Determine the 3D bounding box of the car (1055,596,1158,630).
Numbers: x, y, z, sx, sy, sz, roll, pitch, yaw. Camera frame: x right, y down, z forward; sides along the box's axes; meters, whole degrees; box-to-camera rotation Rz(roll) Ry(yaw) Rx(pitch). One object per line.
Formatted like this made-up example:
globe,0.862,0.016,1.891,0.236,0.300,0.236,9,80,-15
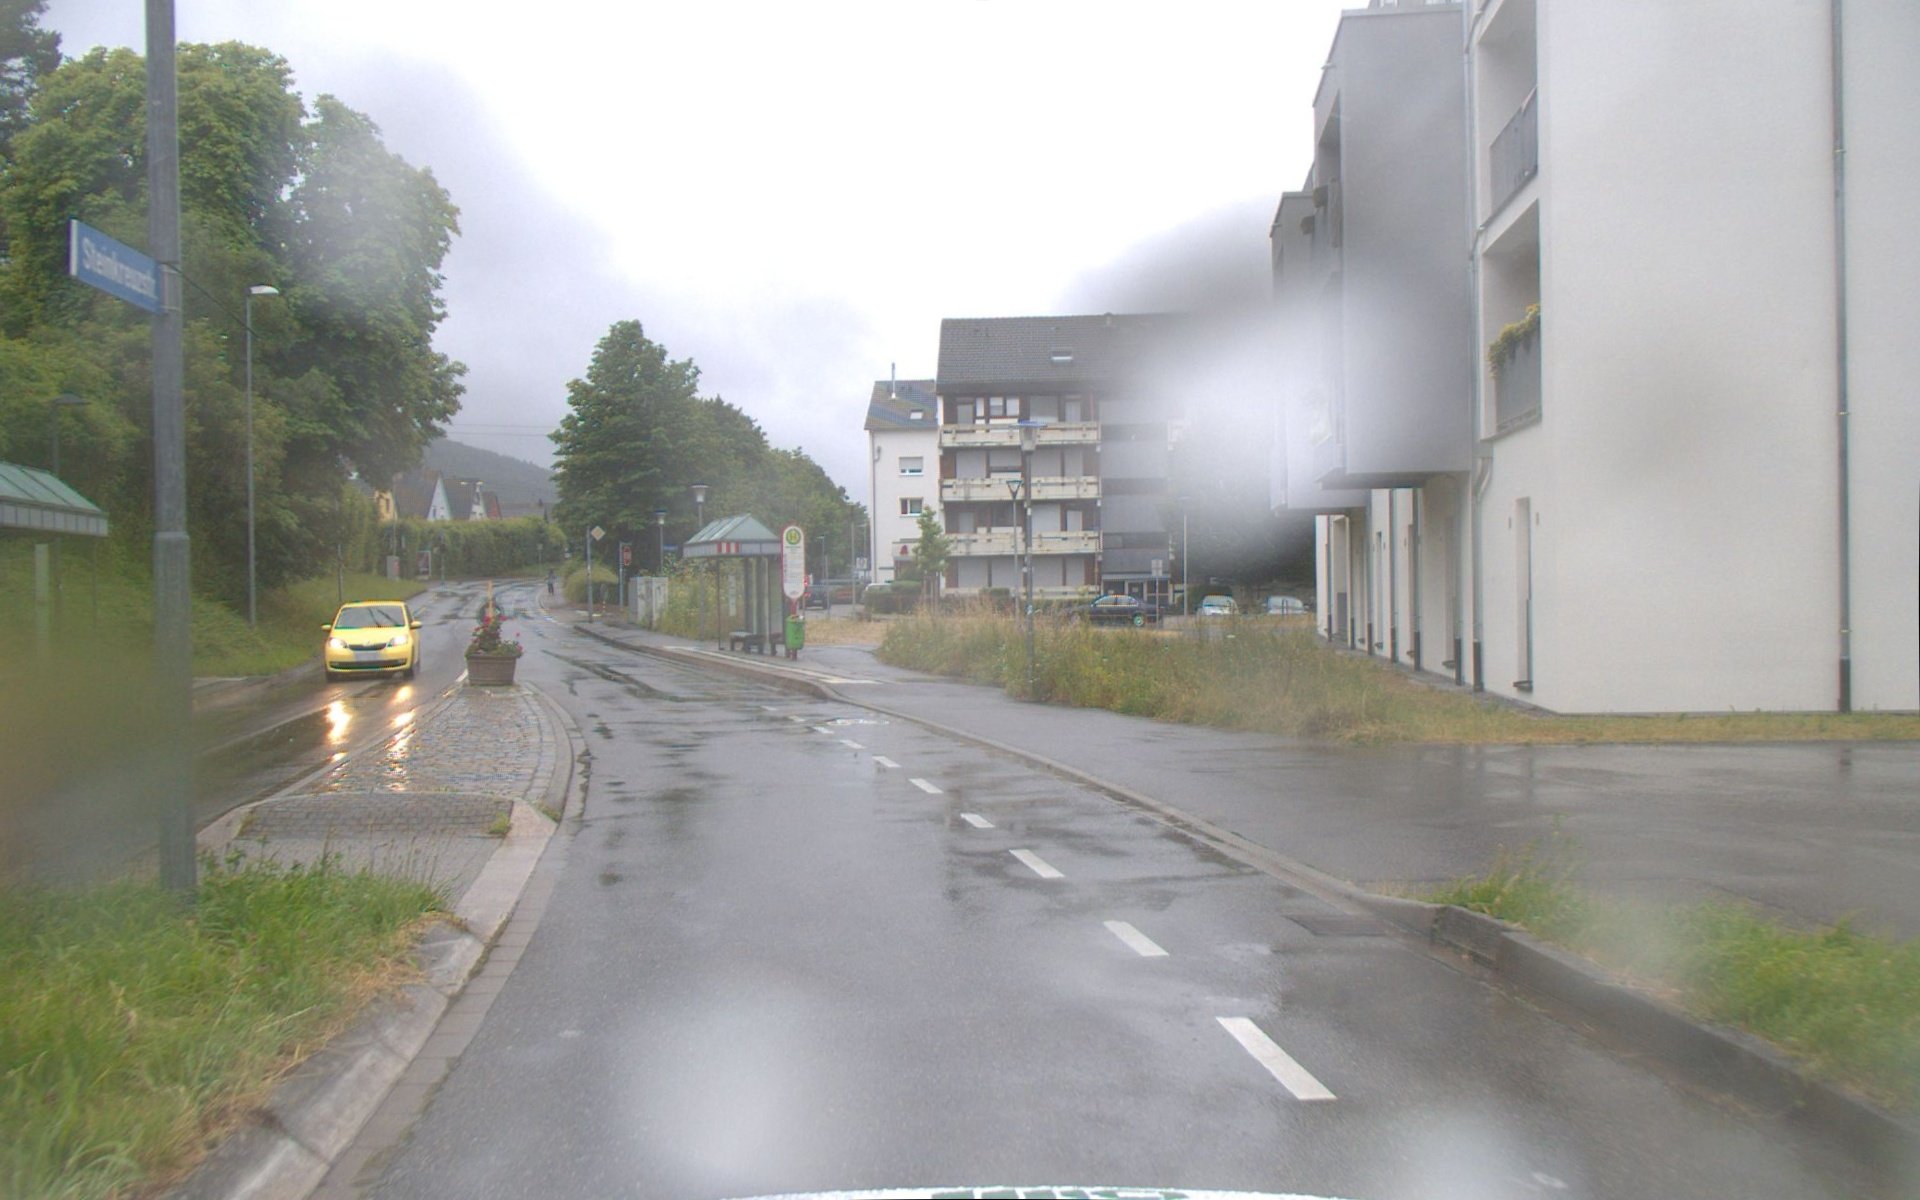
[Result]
car,6.517,0.568,73.906,4.505,1.411,1.947,1,1,2

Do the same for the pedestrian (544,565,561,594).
pedestrian,-24.390,-1.231,99.030,0.904,1.704,1.053,-2,2,-15

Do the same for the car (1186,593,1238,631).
car,10.131,0.512,66.718,1.680,1.466,3.707,0,-2,2

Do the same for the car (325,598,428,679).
car,-11.573,0.730,32.957,1.546,1.435,3.461,-2,1,-14

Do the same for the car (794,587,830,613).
car,-9.105,-0.005,101.601,1.660,1.463,3.598,0,2,-15

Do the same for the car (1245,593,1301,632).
car,12.534,0.530,66.362,1.680,1.466,3.707,0,-2,2
